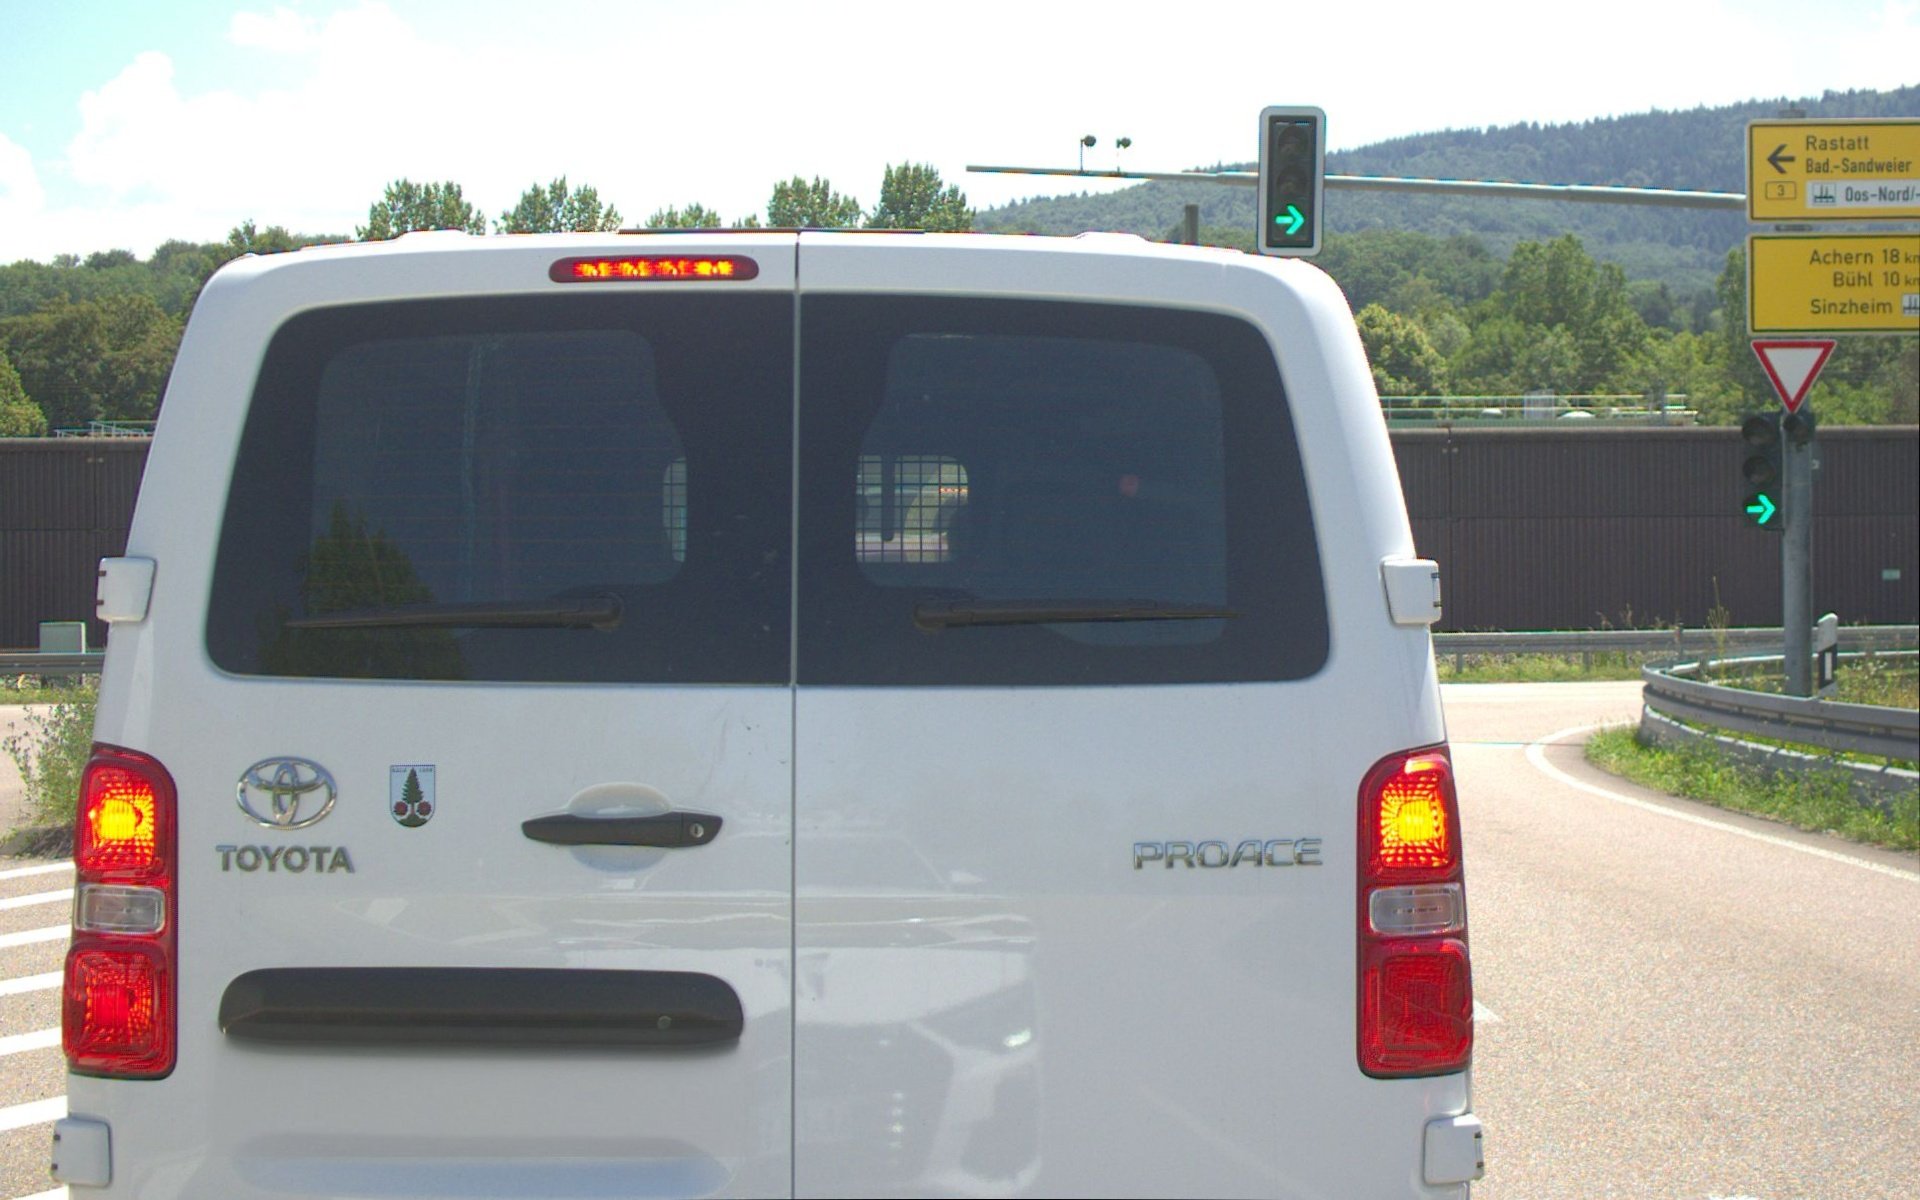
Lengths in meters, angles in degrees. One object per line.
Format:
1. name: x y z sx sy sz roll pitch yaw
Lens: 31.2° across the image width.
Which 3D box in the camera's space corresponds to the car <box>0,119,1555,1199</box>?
1. car: -0.253 0.438 5.939 1.814 2.011 4.000 0 1 -1
